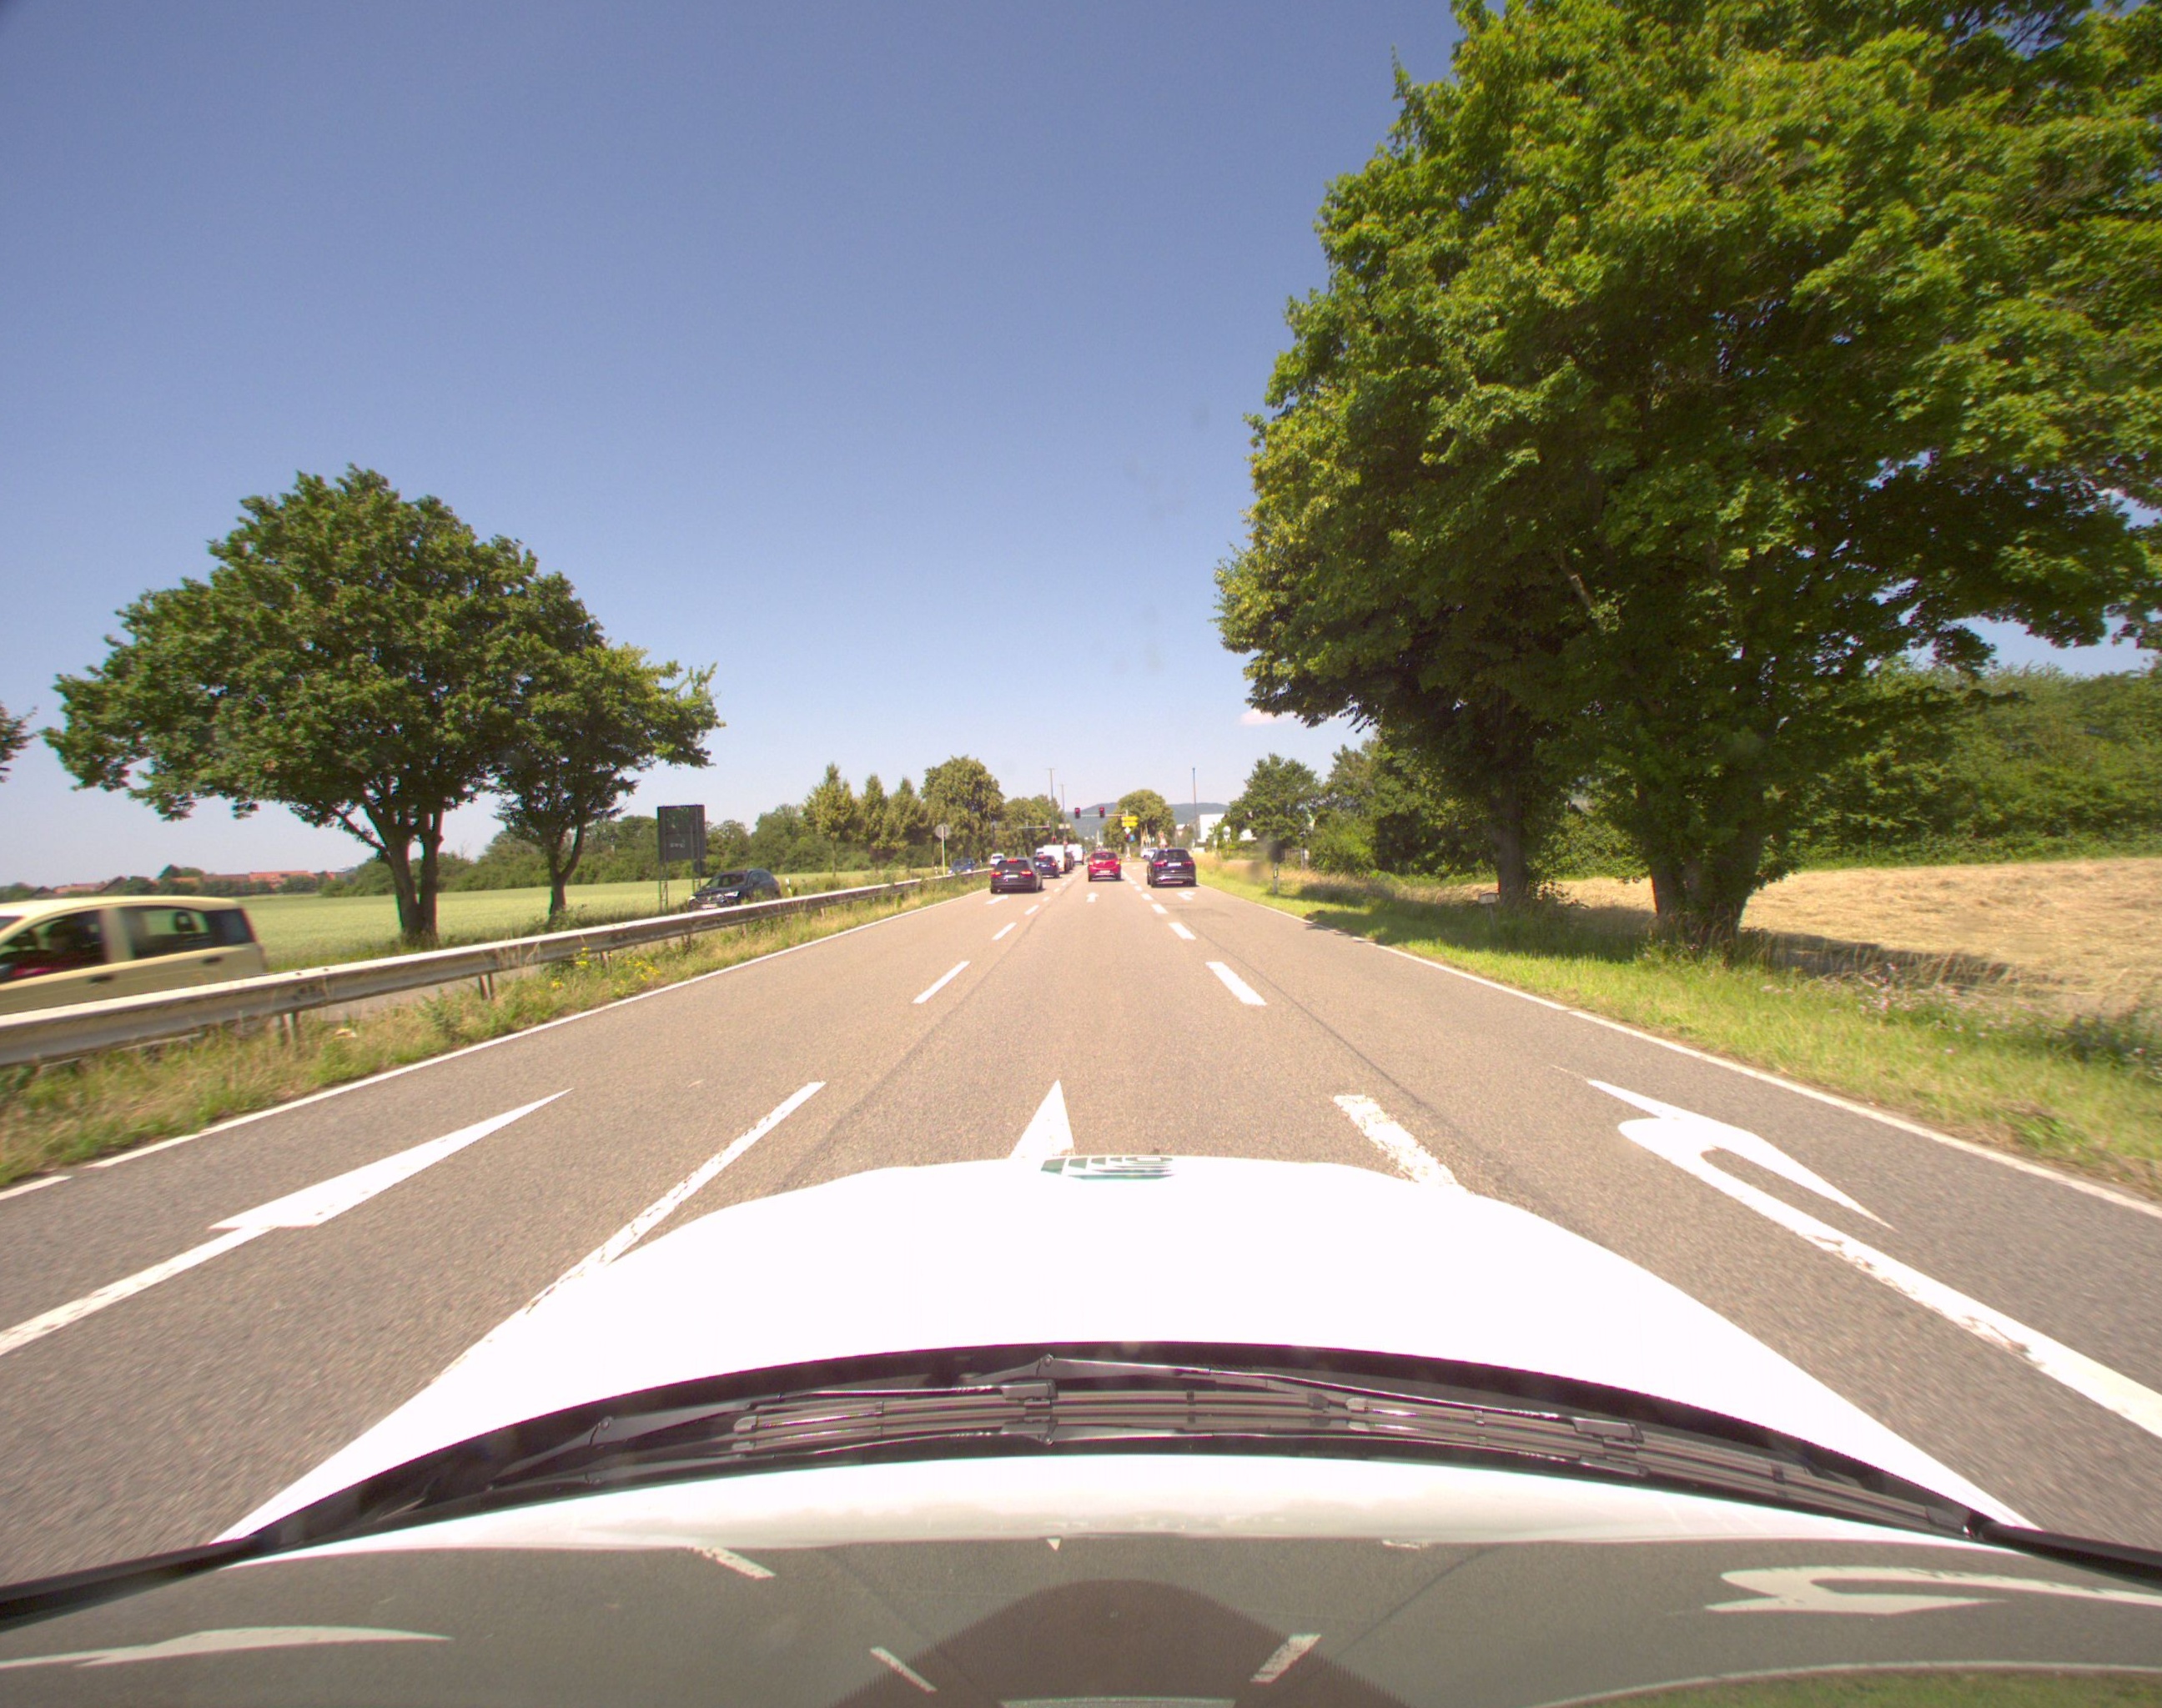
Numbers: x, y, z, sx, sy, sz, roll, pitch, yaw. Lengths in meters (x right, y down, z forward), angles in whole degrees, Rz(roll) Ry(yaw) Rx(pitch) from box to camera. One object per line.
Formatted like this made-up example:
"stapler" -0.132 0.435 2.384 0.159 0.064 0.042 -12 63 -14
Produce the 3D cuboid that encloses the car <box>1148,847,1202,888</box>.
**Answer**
"car" 3.971 0.520 34.995 1.985 1.616 4.343 -1 0 3

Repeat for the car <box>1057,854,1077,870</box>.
"car" -1.439 0.801 84.254 1.718 1.600 3.957 -3 0 2

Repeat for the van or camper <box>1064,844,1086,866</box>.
"van or camper" -0.644 0.092 94.607 2.170 2.302 4.830 -3 0 2

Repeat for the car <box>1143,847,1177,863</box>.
"car" 10.555 0.140 109.227 4.471 1.868 1.887 -3 0 3

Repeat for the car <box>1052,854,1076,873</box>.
"car" -1.446 0.793 70.165 1.716 1.575 3.894 -3 0 2

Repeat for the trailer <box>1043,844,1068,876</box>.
"trailer" -1.787 0.408 58.895 1.495 2.173 4.175 -3 0 1

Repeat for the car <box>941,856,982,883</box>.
"car" -8.184 1.028 56.138 1.987 1.662 4.481 -3 0 1

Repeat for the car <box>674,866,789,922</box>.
"car" -12.100 1.323 28.573 1.987 1.662 4.481 -2 0 1

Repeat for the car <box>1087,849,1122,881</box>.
"car" 1.267 0.567 43.109 1.742 1.575 3.679 -1 0 3

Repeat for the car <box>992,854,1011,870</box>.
"car" -10.801 1.053 110.768 1.987 1.951 4.831 -3 0 1

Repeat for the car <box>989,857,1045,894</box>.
"car" -2.521 0.825 33.050 1.734 1.380 4.457 -1 0 2

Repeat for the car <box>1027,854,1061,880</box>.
"car" -2.211 0.748 49.533 1.711 1.465 4.031 -1 0 1

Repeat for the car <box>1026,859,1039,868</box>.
"car" -8.414 1.581 142.445 1.872 1.454 4.505 -3 0 1

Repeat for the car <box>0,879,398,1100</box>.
"car" -9.125 1.112 7.350 1.986 1.557 4.482 -2 0 2
